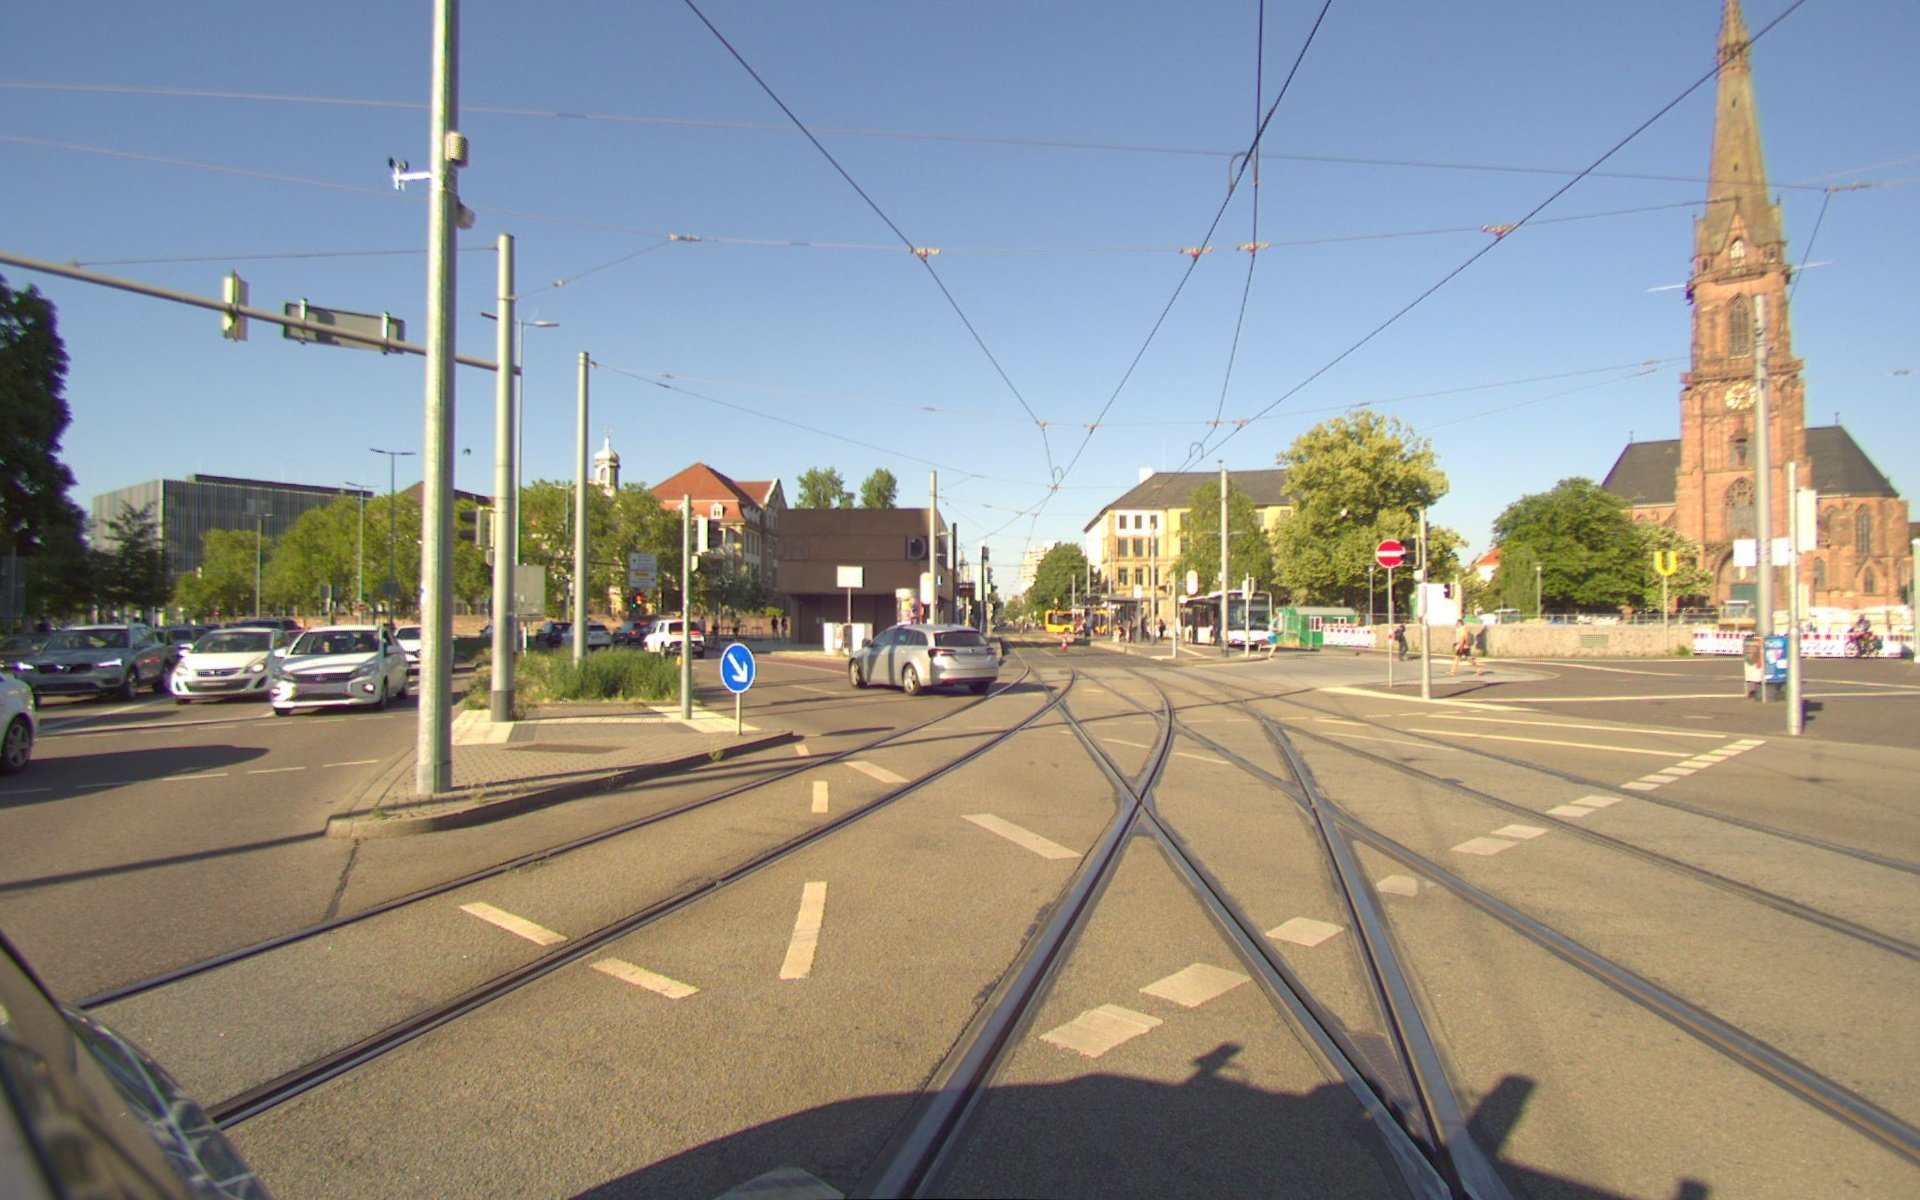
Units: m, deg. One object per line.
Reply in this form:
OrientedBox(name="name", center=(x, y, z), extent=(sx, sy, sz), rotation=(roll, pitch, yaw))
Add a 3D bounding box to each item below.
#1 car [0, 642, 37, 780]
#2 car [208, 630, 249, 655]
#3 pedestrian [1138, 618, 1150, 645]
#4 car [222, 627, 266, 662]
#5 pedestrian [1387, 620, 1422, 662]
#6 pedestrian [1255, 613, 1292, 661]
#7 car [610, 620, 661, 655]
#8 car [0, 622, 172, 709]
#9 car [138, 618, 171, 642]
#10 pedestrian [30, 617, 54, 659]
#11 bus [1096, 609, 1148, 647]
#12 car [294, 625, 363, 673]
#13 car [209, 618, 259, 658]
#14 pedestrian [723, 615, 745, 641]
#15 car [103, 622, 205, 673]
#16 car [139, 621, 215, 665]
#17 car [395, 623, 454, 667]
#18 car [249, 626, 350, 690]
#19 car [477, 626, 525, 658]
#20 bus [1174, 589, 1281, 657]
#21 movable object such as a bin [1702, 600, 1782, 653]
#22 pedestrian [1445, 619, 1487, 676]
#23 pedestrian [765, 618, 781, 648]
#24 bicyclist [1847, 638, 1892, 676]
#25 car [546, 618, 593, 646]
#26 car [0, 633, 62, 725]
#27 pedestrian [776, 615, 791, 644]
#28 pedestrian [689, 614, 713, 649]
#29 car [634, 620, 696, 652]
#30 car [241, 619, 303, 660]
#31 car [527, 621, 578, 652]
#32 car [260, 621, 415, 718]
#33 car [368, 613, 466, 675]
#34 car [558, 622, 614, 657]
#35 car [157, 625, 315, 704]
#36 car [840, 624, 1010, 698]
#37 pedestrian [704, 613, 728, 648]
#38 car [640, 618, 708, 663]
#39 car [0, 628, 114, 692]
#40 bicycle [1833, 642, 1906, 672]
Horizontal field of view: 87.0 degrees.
OrientedBox(name="car", center=(-10.101, 1.126, 8.633), extent=(1.795, 1.399, 4.472), rotation=(-2, -1, -22))
OrientedBox(name="car", center=(-54.184, 3.165, 74.932), extent=(1.969, 1.696, 4.713), rotation=(-2, -1, -42))
OrientedBox(name="pedestrian", center=(11.596, 1.987, 63.719), extent=(0.491, 1.714, 0.502), rotation=(-2, -1, -21))
OrientedBox(name="car", center=(-43.488, 2.672, 61.532), extent=(1.966, 2.029, 4.011), rotation=(1, -2, -33))
OrientedBox(name="pedestrian", center=(18.623, 1.711, 42.375), extent=(1.039, 1.699, 0.730), rotation=(-2, -1, -12))
OrientedBox(name="pedestrian", center=(12.168, 1.444, 39.293), extent=(1.161, 1.782, 0.805), rotation=(-2, -1, -42))
OrientedBox(name="car", center=(-19.636, 2.223, 61.117), extent=(1.966, 2.029, 4.011), rotation=(1, -2, -32))
OrientedBox(name="car", center=(-18.593, 1.316, 21.735), extent=(1.965, 1.619, 4.013), rotation=(-1, -1, -28))
OrientedBox(name="car", center=(-96.563, 3.599, 121.285), extent=(4.967, 2.889, 2.124), rotation=(-1, -2, 40))
OrientedBox(name="pedestrian", center=(-37.892, 1.554, 41.773), extent=(0.556, 1.674, 0.594), rotation=(-2, -1, -27))
OrientedBox(name="bus", center=(15.481, 2.598, 97.718), extent=(3.208, 3.218, 12.652), rotation=(-2, -1, 2))
OrientedBox(name="car", center=(-24.928, 1.902, 40.051), extent=(1.966, 1.696, 4.013), rotation=(-2, -1, -28))
OrientedBox(name="car", center=(-39.009, 2.021, 54.471), extent=(1.966, 2.029, 4.011), rotation=(1, -2, -33))
OrientedBox(name="pedestrian", center=(-13.951, 1.740, 62.540), extent=(0.793, 1.579, 1.180), rotation=(-2, -1, -44))
OrientedBox(name="car", center=(-30.055, 1.718, 37.900), extent=(1.965, 1.696, 4.722), rotation=(-2, -1, -26))
OrientedBox(name="car", center=(-32.682, 1.756, 42.365), extent=(1.791, 1.741, 4.013), rotation=(1, -2, -27))
OrientedBox(name="car", center=(-21.433, 1.763, 40.587), extent=(1.965, 1.689, 4.297), rotation=(1, -2, -27))
OrientedBox(name="car", center=(-19.782, 1.689, 30.495), extent=(1.965, 1.696, 4.013), rotation=(-2, -1, -25))
OrientedBox(name="car", center=(-25.594, 2.307, 56.368), extent=(1.828, 1.642, 3.881), rotation=(-3, 0, -33))
OrientedBox(name="bus", center=(14.465, 1.173, 56.054), extent=(2.803, 3.218, 12.652), rotation=(-2, -1, 2))
OrientedBox(name="movable object such as a bin", center=(41.134, 1.340, 53.386), extent=(2.625, 2.545, 5.116), rotation=(-3, -1, 31))
OrientedBox(name="pedestrian", center=(15.559, 1.448, 31.119), extent=(1.053, 1.699, 0.721), rotation=(-3, -1, 32))
OrientedBox(name="pedestrian", center=(-11.713, 2.067, 63.512), extent=(0.793, 1.782, 0.974), rotation=(-2, -1, -2))
OrientedBox(name="bicyclist", center=(35.374, 2.211, 39.377), extent=(0.890, 1.354, 0.815), rotation=(3, 2, 1))
OrientedBox(name="car", center=(-24.681, 2.021, 63.931), extent=(1.828, 1.642, 3.880), rotation=(-3, 0, -35))
OrientedBox(name="car", center=(-16.543, 1.318, 16.113), extent=(1.786, 1.504, 4.669), rotation=(-1, -1, -20))
OrientedBox(name="pedestrian", center=(-11.227, 1.847, 64.385), extent=(0.793, 1.782, 0.974), rotation=(-2, -1, -2))
OrientedBox(name="pedestrian", center=(-13.595, 1.633, 53.097), extent=(0.793, 1.782, 0.964), rotation=(-2, -1, -44))
OrientedBox(name="car", center=(-16.452, 1.989, 56.376), extent=(1.836, 1.642, 4.044), rotation=(-3, 0, -39))
OrientedBox(name="car", center=(-30.639, 1.737, 45.165), extent=(1.791, 1.741, 4.013), rotation=(1, -2, -27))
OrientedBox(name="car", center=(-23.318, 2.068, 57.890), extent=(1.828, 1.642, 3.880), rotation=(-3, 0, -35))
OrientedBox(name="car", center=(-11.048, 1.150, 18.226), extent=(1.692, 1.504, 3.883), rotation=(-1, -1, -21))
OrientedBox(name="car", center=(-15.962, 1.278, 29.946), extent=(1.965, 1.689, 4.297), rotation=(1, -2, -21))
OrientedBox(name="car", center=(-19.506, 2.020, 52.656), extent=(1.828, 1.642, 3.881), rotation=(-3, 0, -33))
OrientedBox(name="car", center=(-14.960, 1.294, 21.143), extent=(1.753, 1.475, 3.928), rotation=(1, -2, -22))
OrientedBox(name="car", center=(-0.893, 1.256, 22.109), extent=(1.815, 1.434, 4.445), rotation=(0, -2, -30))
OrientedBox(name="pedestrian", center=(-12.964, 1.611, 53.658), extent=(0.793, 1.782, 0.974), rotation=(-2, -1, -44))
OrientedBox(name="car", center=(-11.415, 1.585, 40.281), extent=(1.692, 1.643, 3.882), rotation=(-1, -1, -30))
OrientedBox(name="car", center=(-24.208, 1.541, 26.791), extent=(1.726, 1.475, 4.032), rotation=(1, -1, -24))
OrientedBox(name="bicycle", center=(35.369, 2.211, 39.379), extent=(1.975, 0.949, 0.815), rotation=(3, 2, 2))
